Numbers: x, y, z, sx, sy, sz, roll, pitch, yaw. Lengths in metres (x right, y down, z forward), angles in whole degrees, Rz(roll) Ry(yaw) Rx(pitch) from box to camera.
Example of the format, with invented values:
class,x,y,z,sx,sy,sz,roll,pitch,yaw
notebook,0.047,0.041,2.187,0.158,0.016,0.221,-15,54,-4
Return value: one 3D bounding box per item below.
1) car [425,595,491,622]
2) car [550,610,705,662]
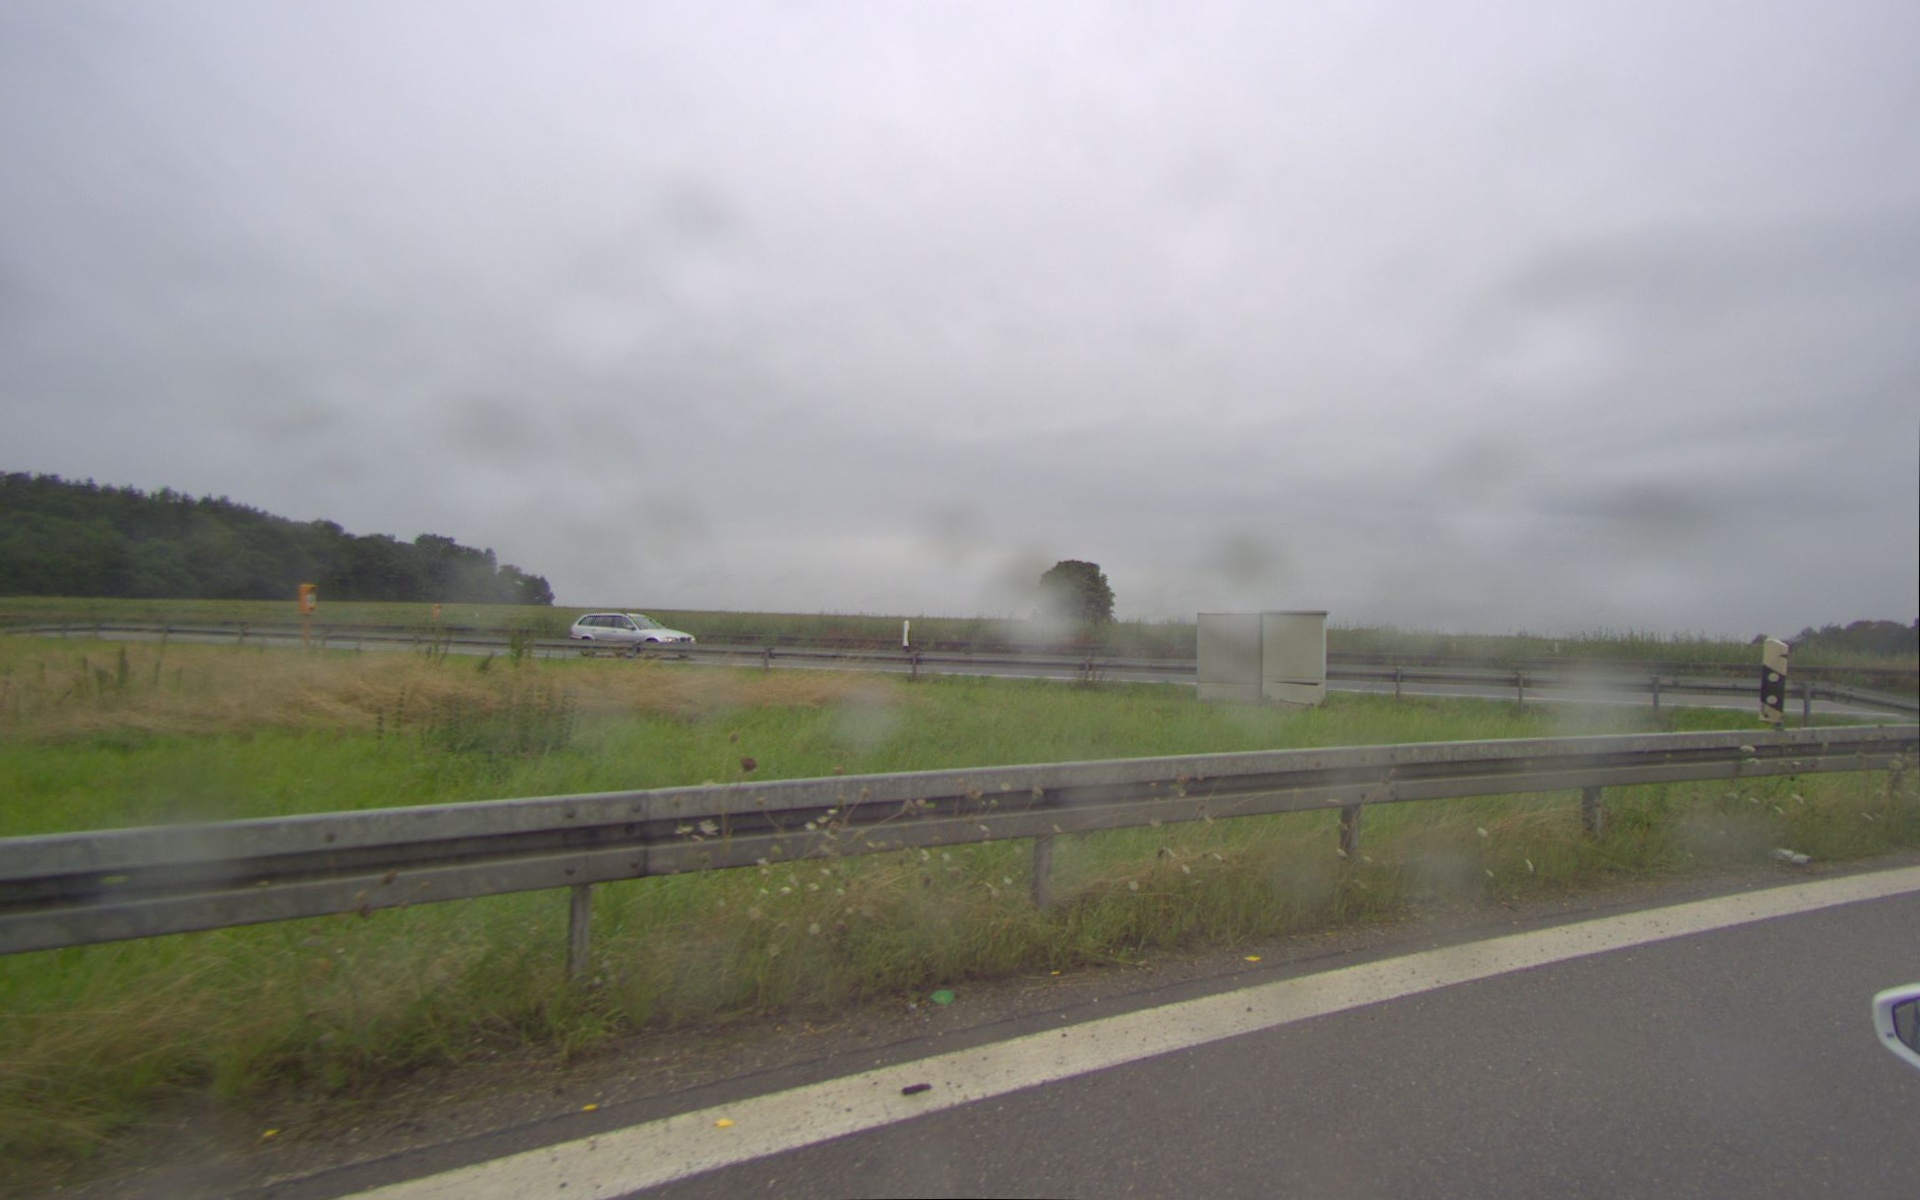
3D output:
class,x,y,z,sx,sy,sz,roll,pitch,yaw
car,-33.595,0.540,67.190,3.921,1.760,1.735,0,-1,21
car,-10.855,1.166,32.743,4.704,1.507,1.880,1,-2,23
